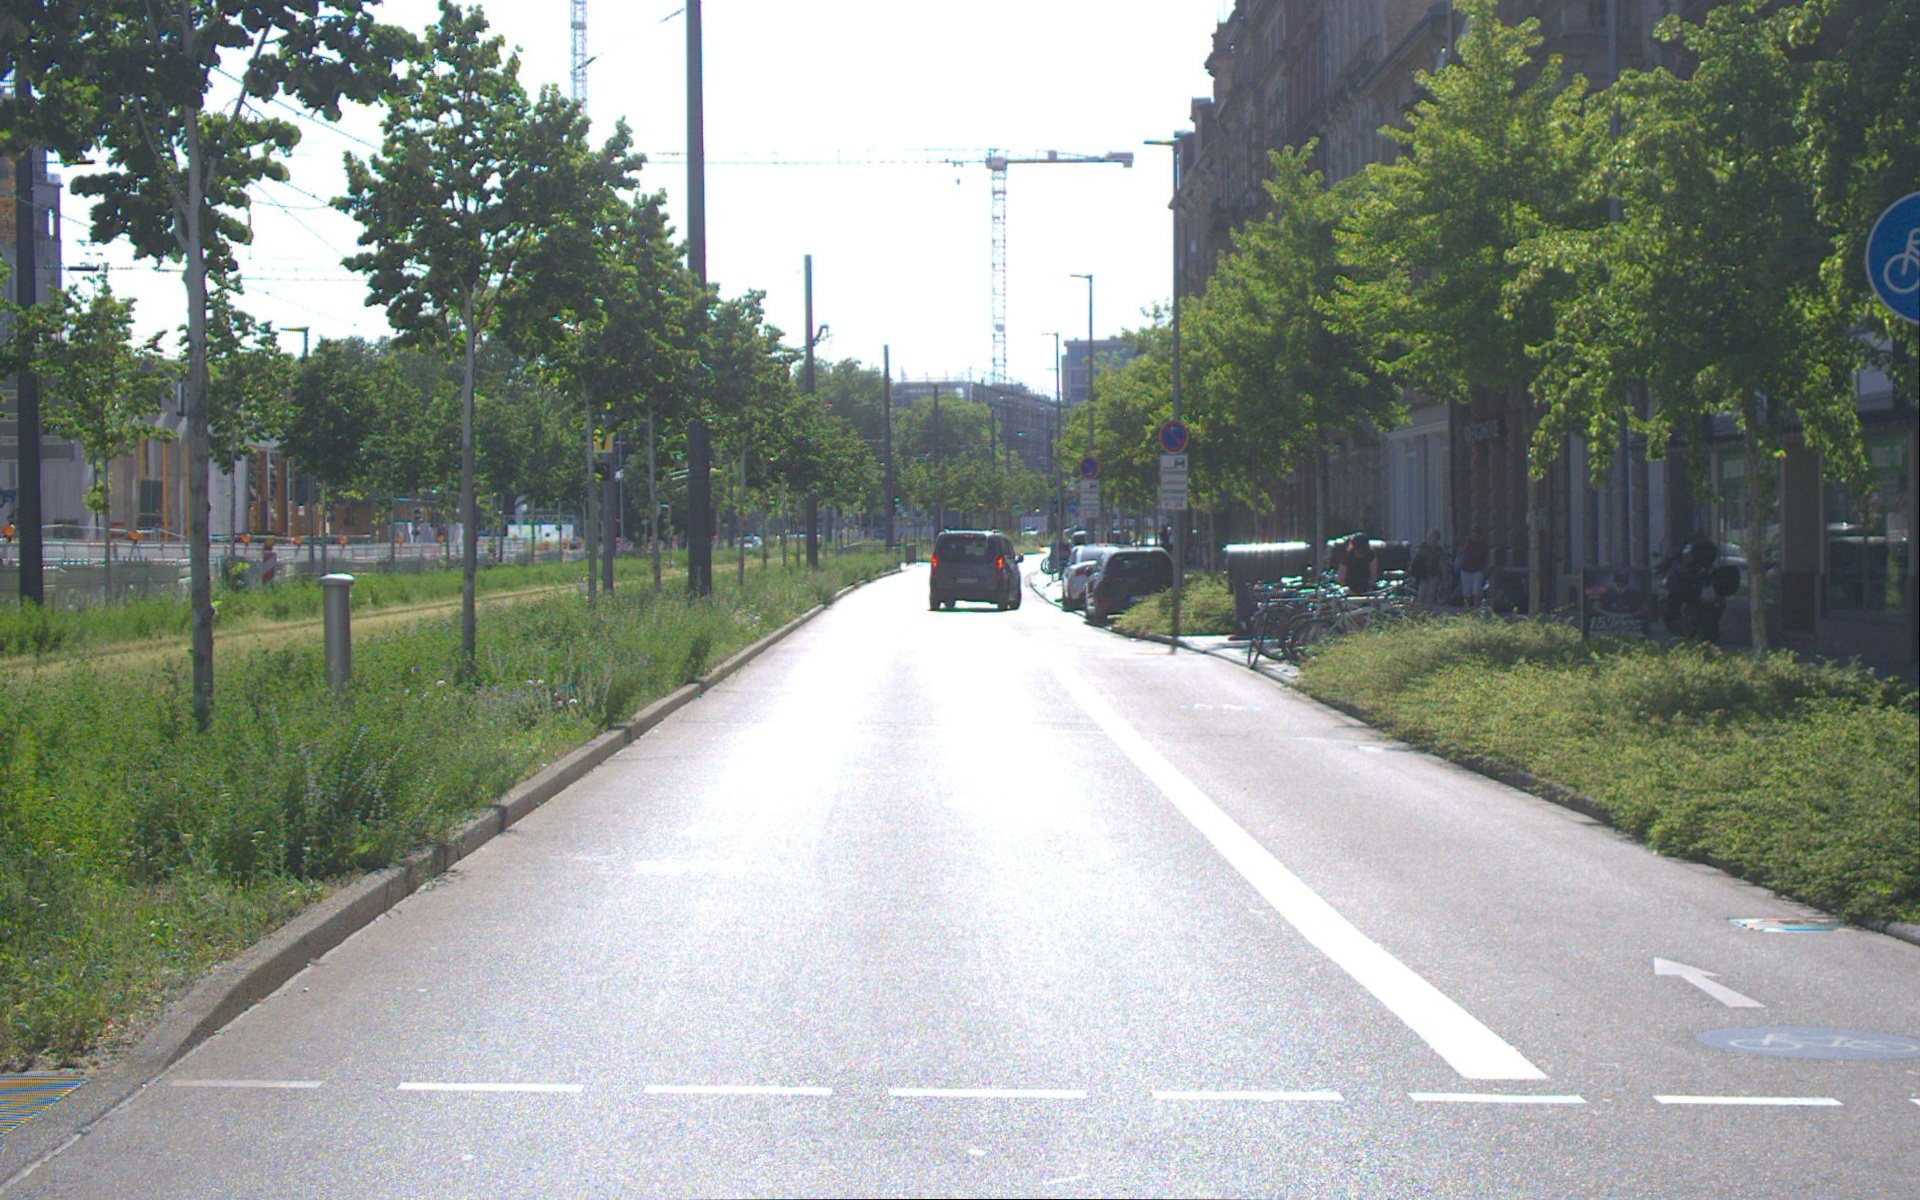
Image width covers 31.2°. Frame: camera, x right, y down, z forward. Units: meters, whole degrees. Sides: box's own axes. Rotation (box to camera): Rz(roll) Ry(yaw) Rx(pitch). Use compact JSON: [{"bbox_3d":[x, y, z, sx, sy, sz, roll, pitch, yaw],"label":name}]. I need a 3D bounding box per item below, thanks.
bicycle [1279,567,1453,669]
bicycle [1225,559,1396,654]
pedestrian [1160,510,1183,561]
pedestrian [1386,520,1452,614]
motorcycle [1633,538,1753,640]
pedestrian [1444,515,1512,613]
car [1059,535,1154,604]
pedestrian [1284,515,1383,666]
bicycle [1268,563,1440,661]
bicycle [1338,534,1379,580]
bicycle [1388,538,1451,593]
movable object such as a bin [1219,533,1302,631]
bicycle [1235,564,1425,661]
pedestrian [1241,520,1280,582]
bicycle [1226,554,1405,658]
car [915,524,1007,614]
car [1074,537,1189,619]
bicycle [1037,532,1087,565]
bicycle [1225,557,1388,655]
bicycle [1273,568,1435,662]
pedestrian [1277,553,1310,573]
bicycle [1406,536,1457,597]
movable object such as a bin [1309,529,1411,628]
[{"bbox_3d":[4.675,0.205,39.625,1.891,1.105,0.518,-2,1,-5],"label":"bicycle"},{"bbox_3d":[4.486,0.076,44.034,2.043,1.103,0.611,-3,1,-6],"label":"bicycle"},{"bbox_3d":[8.518,-2.578,138.300,0.817,2.007,1.046,1,-1,0],"label":"pedestrian"},{"bbox_3d":[7.873,-0.571,59.038,0.950,1.561,1.080,-1,2,-1],"label":"pedestrian"},{"bbox_3d":[9.440,-0.149,44.376,0.866,1.262,2.982,1,1,-1],"label":"motorcycle"},{"bbox_3d":[8.909,-0.624,59.139,0.971,1.633,0.992,-1,2,0],"label":"pedestrian"},{"bbox_3d":[3.381,-0.730,80.271,1.951,1.490,5.105,-2,1,0],"label":"car"},{"bbox_3d":[4.475,-0.122,41.247,0.899,1.730,0.849,-4,1,-7],"label":"pedestrian"},{"bbox_3d":[4.746,0.139,41.441,1.977,1.104,0.435,-2,1,-3],"label":"bicycle"},{"bbox_3d":[9.733,-1.054,84.058,0.721,1.086,2.198,-1,1,0],"label":"bicycle"},{"bbox_3d":[9.733,-0.740,72.891,0.875,1.101,2.182,-3,1,-3],"label":"bicycle"},{"bbox_3d":[4.773,-0.303,54.685,1.271,1.458,1.644,1,3,4],"label":"movable object such as a bin"},{"bbox_3d":[4.588,0.153,42.606,2.284,1.098,0.486,-2,1,-14],"label":"bicycle"},{"bbox_3d":[8.502,-1.388,97.385,0.996,1.725,0.866,1,0,0],"label":"pedestrian"},{"bbox_3d":[4.444,0.070,42.949,2.146,1.150,0.429,-4,1,-13],"label":"bicycle"},{"bbox_3d":[0.049,-0.729,79.660,1.993,2.007,4.000,1,1,1],"label":"car"},{"bbox_3d":[3.336,-0.439,67.565,1.765,1.472,4.449,-3,1,-3],"label":"car"},{"bbox_3d":[4.079,-2.047,137.629,1.878,1.229,0.500,-3,1,-5],"label":"bicycle"},{"bbox_3d":[4.477,0.074,44.442,1.974,1.120,0.482,-4,2,-5],"label":"bicycle"},{"bbox_3d":[4.706,0.175,41.097,1.814,1.052,0.572,-2,1,-6],"label":"bicycle"},{"bbox_3d":[9.777,-1.088,100.852,0.773,0.551,2.008,-1,2,0],"label":"pedestrian"},{"bbox_3d":[9.576,-0.677,69.826,0.748,1.197,1.801,-1,1,0],"label":"bicycle"},{"bbox_3d":[6.369,-0.339,54.858,1.373,1.490,1.749,-3,0,1],"label":"movable object such as a bin"}]
